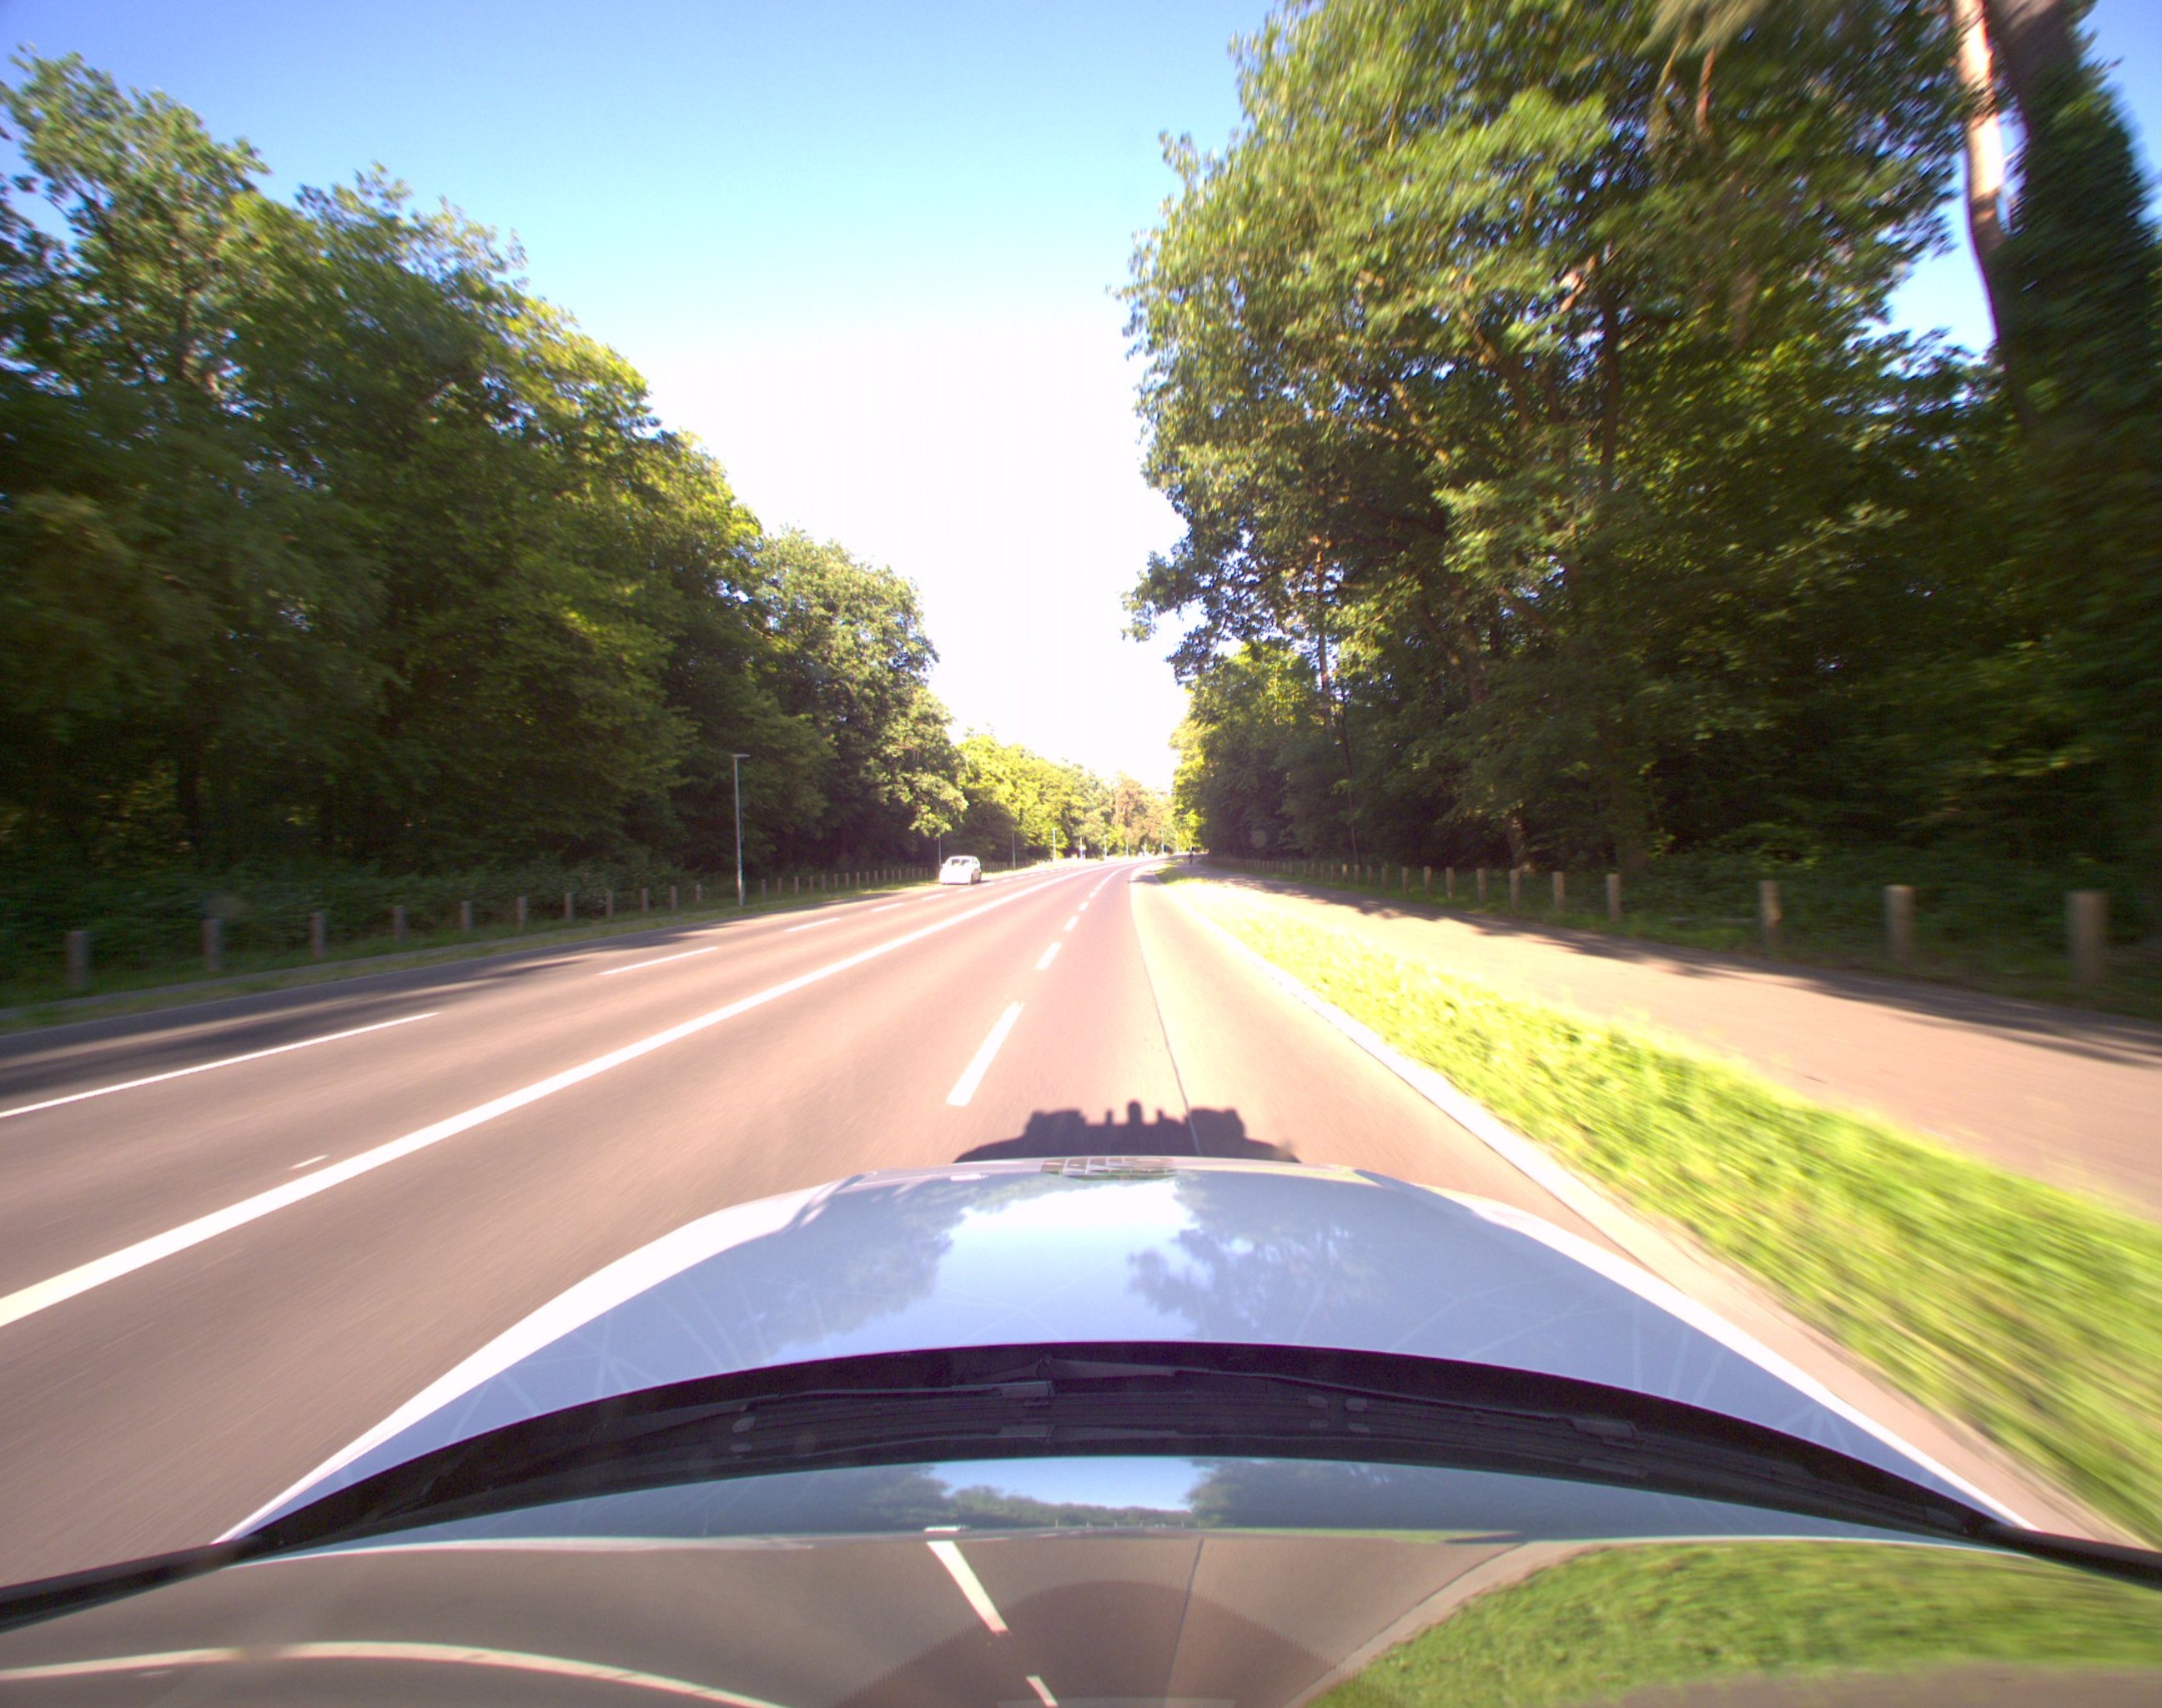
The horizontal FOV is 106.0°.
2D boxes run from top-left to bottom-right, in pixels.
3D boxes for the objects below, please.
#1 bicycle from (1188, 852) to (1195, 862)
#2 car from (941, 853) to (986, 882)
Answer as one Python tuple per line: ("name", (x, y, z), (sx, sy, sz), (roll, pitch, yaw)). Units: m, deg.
("bicycle", (12.521, 0.340, 92.379), (0.708, 1.056, 2.057), (-2, 0, 8))
("car", (-6.269, 0.690, 43.824), (1.580, 1.437, 4.313), (1, 0, 3))
